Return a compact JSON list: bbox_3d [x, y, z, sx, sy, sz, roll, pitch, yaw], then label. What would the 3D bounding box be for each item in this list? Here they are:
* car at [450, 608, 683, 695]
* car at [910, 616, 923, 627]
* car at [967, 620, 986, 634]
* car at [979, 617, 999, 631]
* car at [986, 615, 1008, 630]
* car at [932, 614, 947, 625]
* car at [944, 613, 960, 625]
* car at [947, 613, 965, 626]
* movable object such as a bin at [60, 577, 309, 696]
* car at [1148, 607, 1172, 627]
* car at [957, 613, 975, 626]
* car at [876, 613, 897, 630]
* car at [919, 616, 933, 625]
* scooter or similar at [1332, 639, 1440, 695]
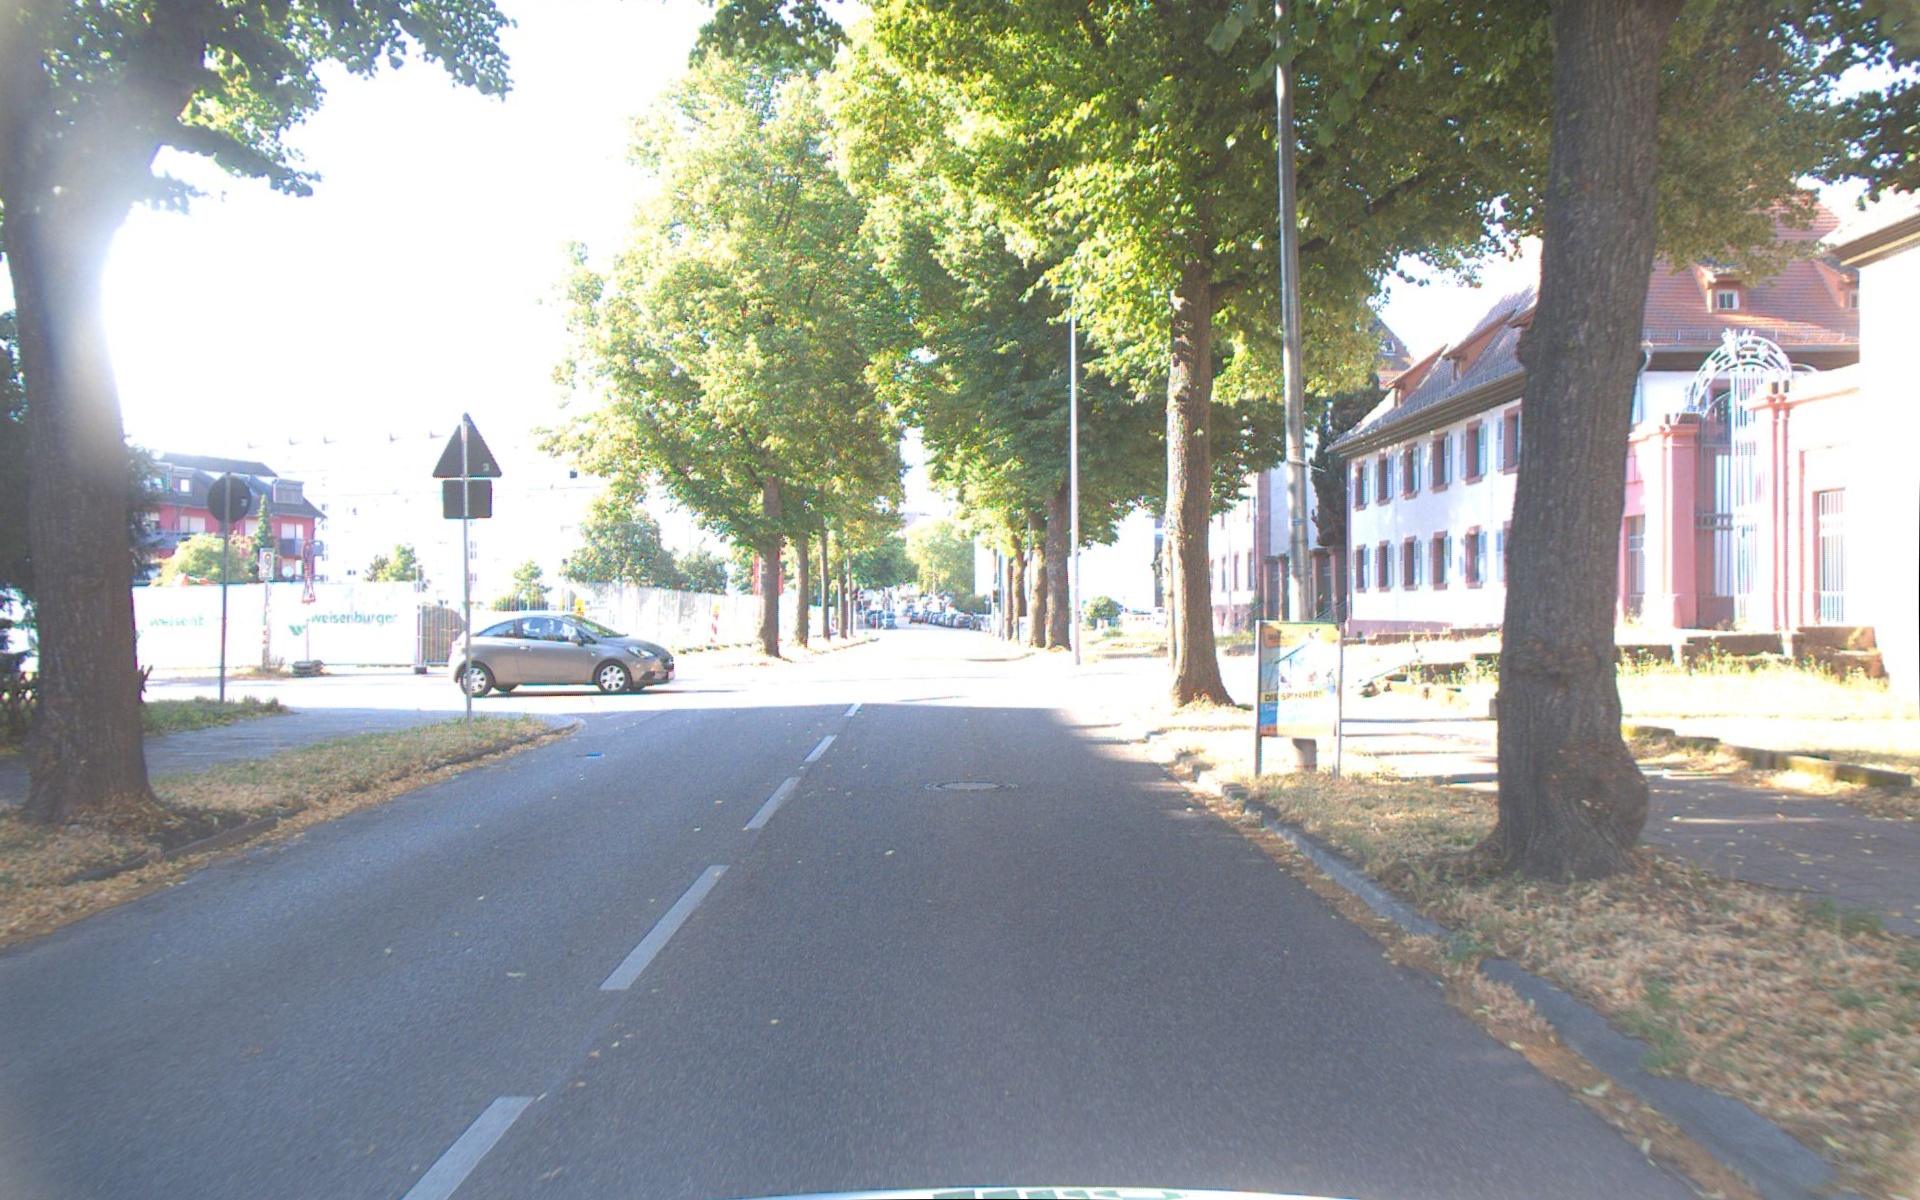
[{"bbox_3d":[-7.008,0.907,29.686,3.764,1.499,1.651,0,0,1],"label":"car"},{"bbox_3d":[-6.252,3.054,239.761,1.680,1.512,3.996,-2,-1,-4],"label":"car"},{"bbox_3d":[1.631,2.705,165.136,1.804,1.283,3.999,-1,-1,-1],"label":"car"},{"bbox_3d":[2.780,2.271,158.113,1.804,1.283,3.999,-3,0,-1],"label":"car"},{"bbox_3d":[3.266,2.008,147.875,1.804,1.283,3.999,-1,-1,-1],"label":"car"},{"bbox_3d":[-2.768,2.693,226.710,1.805,1.410,3.997,-1,-1,-4],"label":"car"},{"bbox_3d":[-1.024,2.391,206.054,1.805,1.410,3.997,-1,0,-4],"label":"car"},{"bbox_3d":[-0.493,2.292,194.465,1.805,1.410,3.997,-1,-1,-4],"label":"car"},{"bbox_3d":[-36.211,1.551,78.001,2.948,5.080,11.561,-3,-1,22],"label":"movable object such as a bin"},{"bbox_3d":[17.310,1.467,143.147,1.774,1.587,3.626,1,-2,2],"label":"car"},{"bbox_3d":[0.662,2.123,183.296,1.804,1.410,3.998,-1,0,-3],"label":"car"},{"bbox_3d":[-7.560,2.211,170.396,1.955,1.717,3.994,-1,-1,-6],"label":"car"},{"bbox_3d":[-5.311,3.125,256.178,1.806,1.410,3.995,0,0,-6],"label":"car"},{"bbox_3d":[6.078,0.952,23.656,1.201,0.558,1.063,-9,0,-1],"label":"scooter or similar"}]
